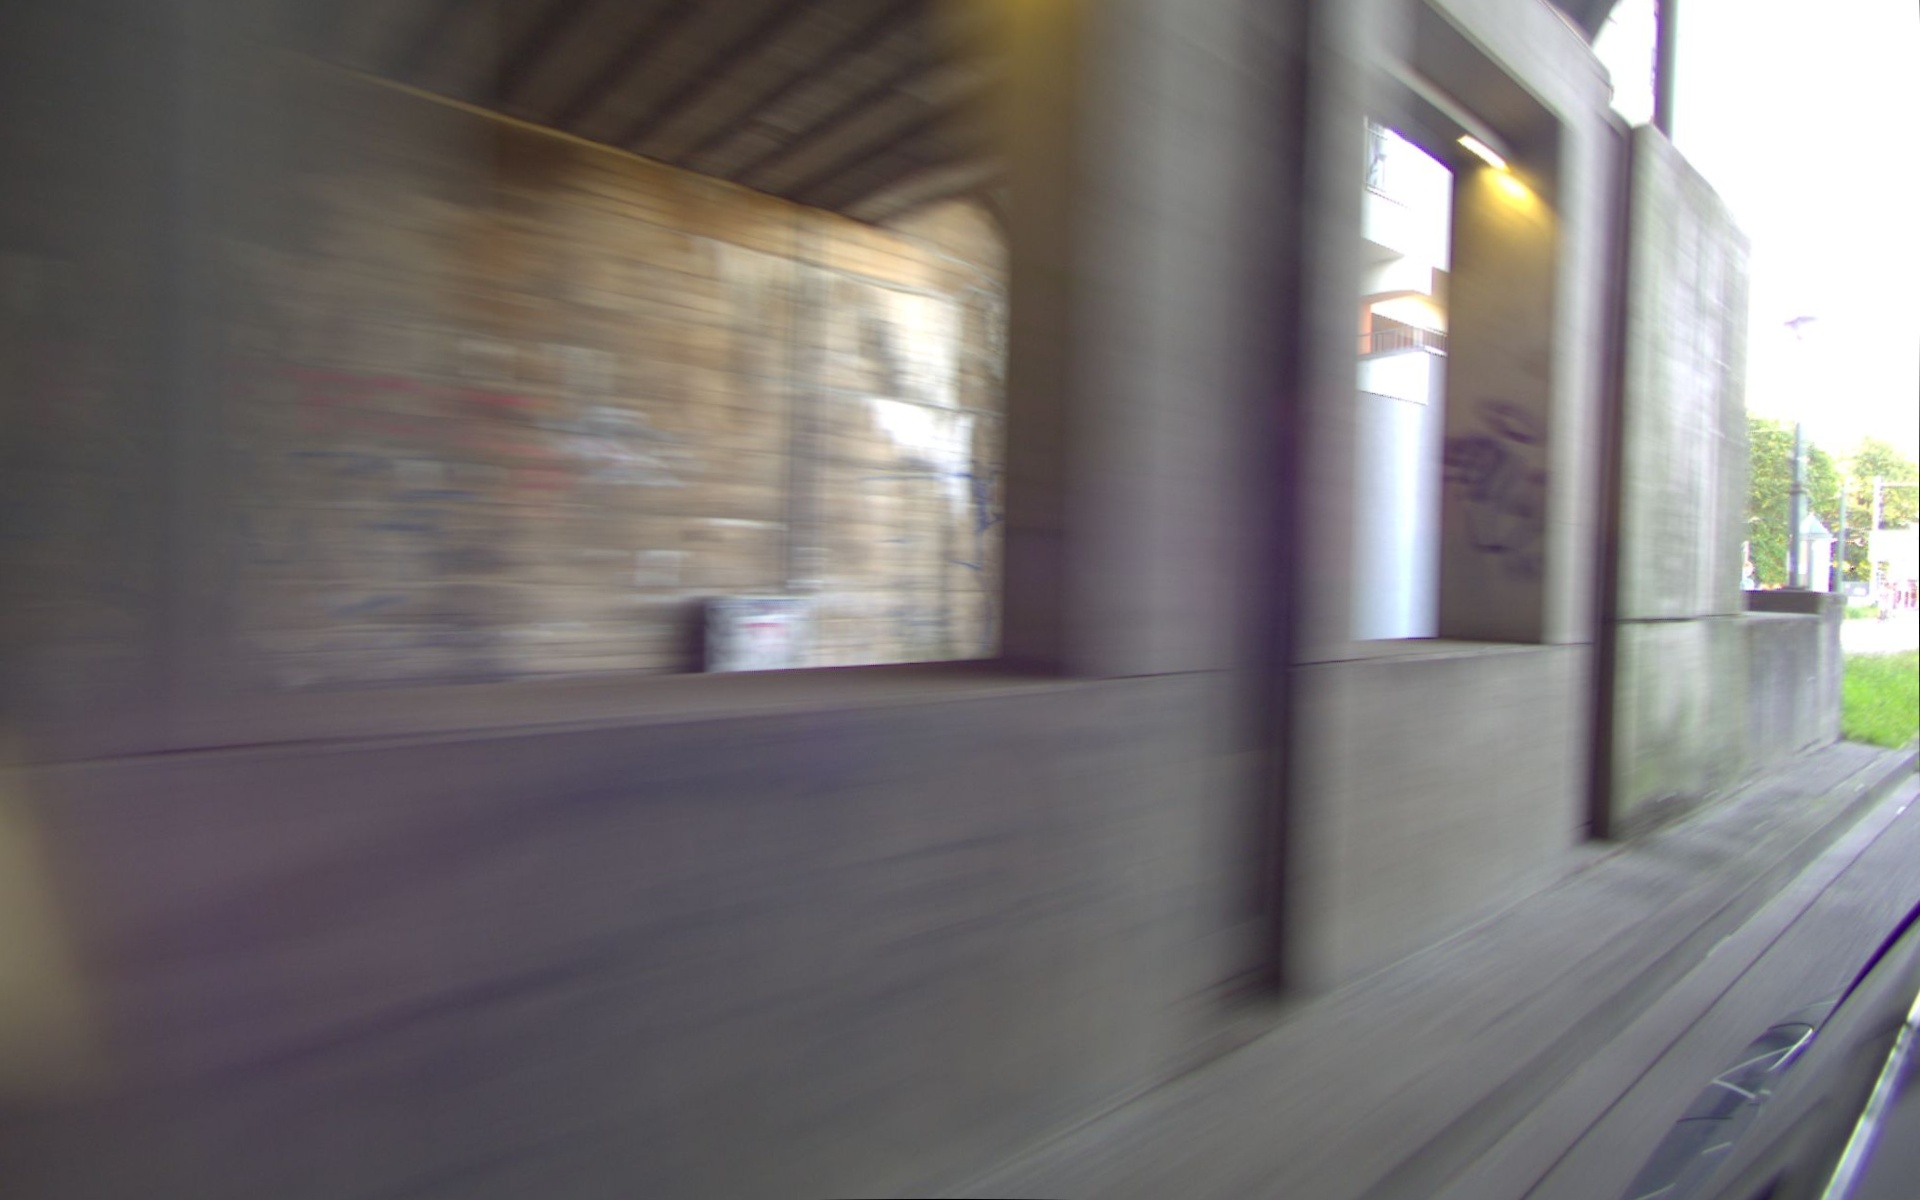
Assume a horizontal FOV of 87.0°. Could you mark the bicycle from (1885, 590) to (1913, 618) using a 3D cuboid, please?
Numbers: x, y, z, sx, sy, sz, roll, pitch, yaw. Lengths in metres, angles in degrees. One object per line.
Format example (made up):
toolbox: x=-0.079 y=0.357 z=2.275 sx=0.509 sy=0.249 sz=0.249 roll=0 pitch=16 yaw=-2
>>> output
bicycle: x=42.779 y=0.179 z=46.113 sx=1.966 sy=1.207 sz=0.720 roll=0 pitch=2 yaw=-42

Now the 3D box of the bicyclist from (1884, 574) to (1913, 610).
bicyclist: x=42.807 y=-0.358 z=46.168 sx=1.129 sy=1.619 sz=0.813 roll=1 pitch=1 yaw=-42
